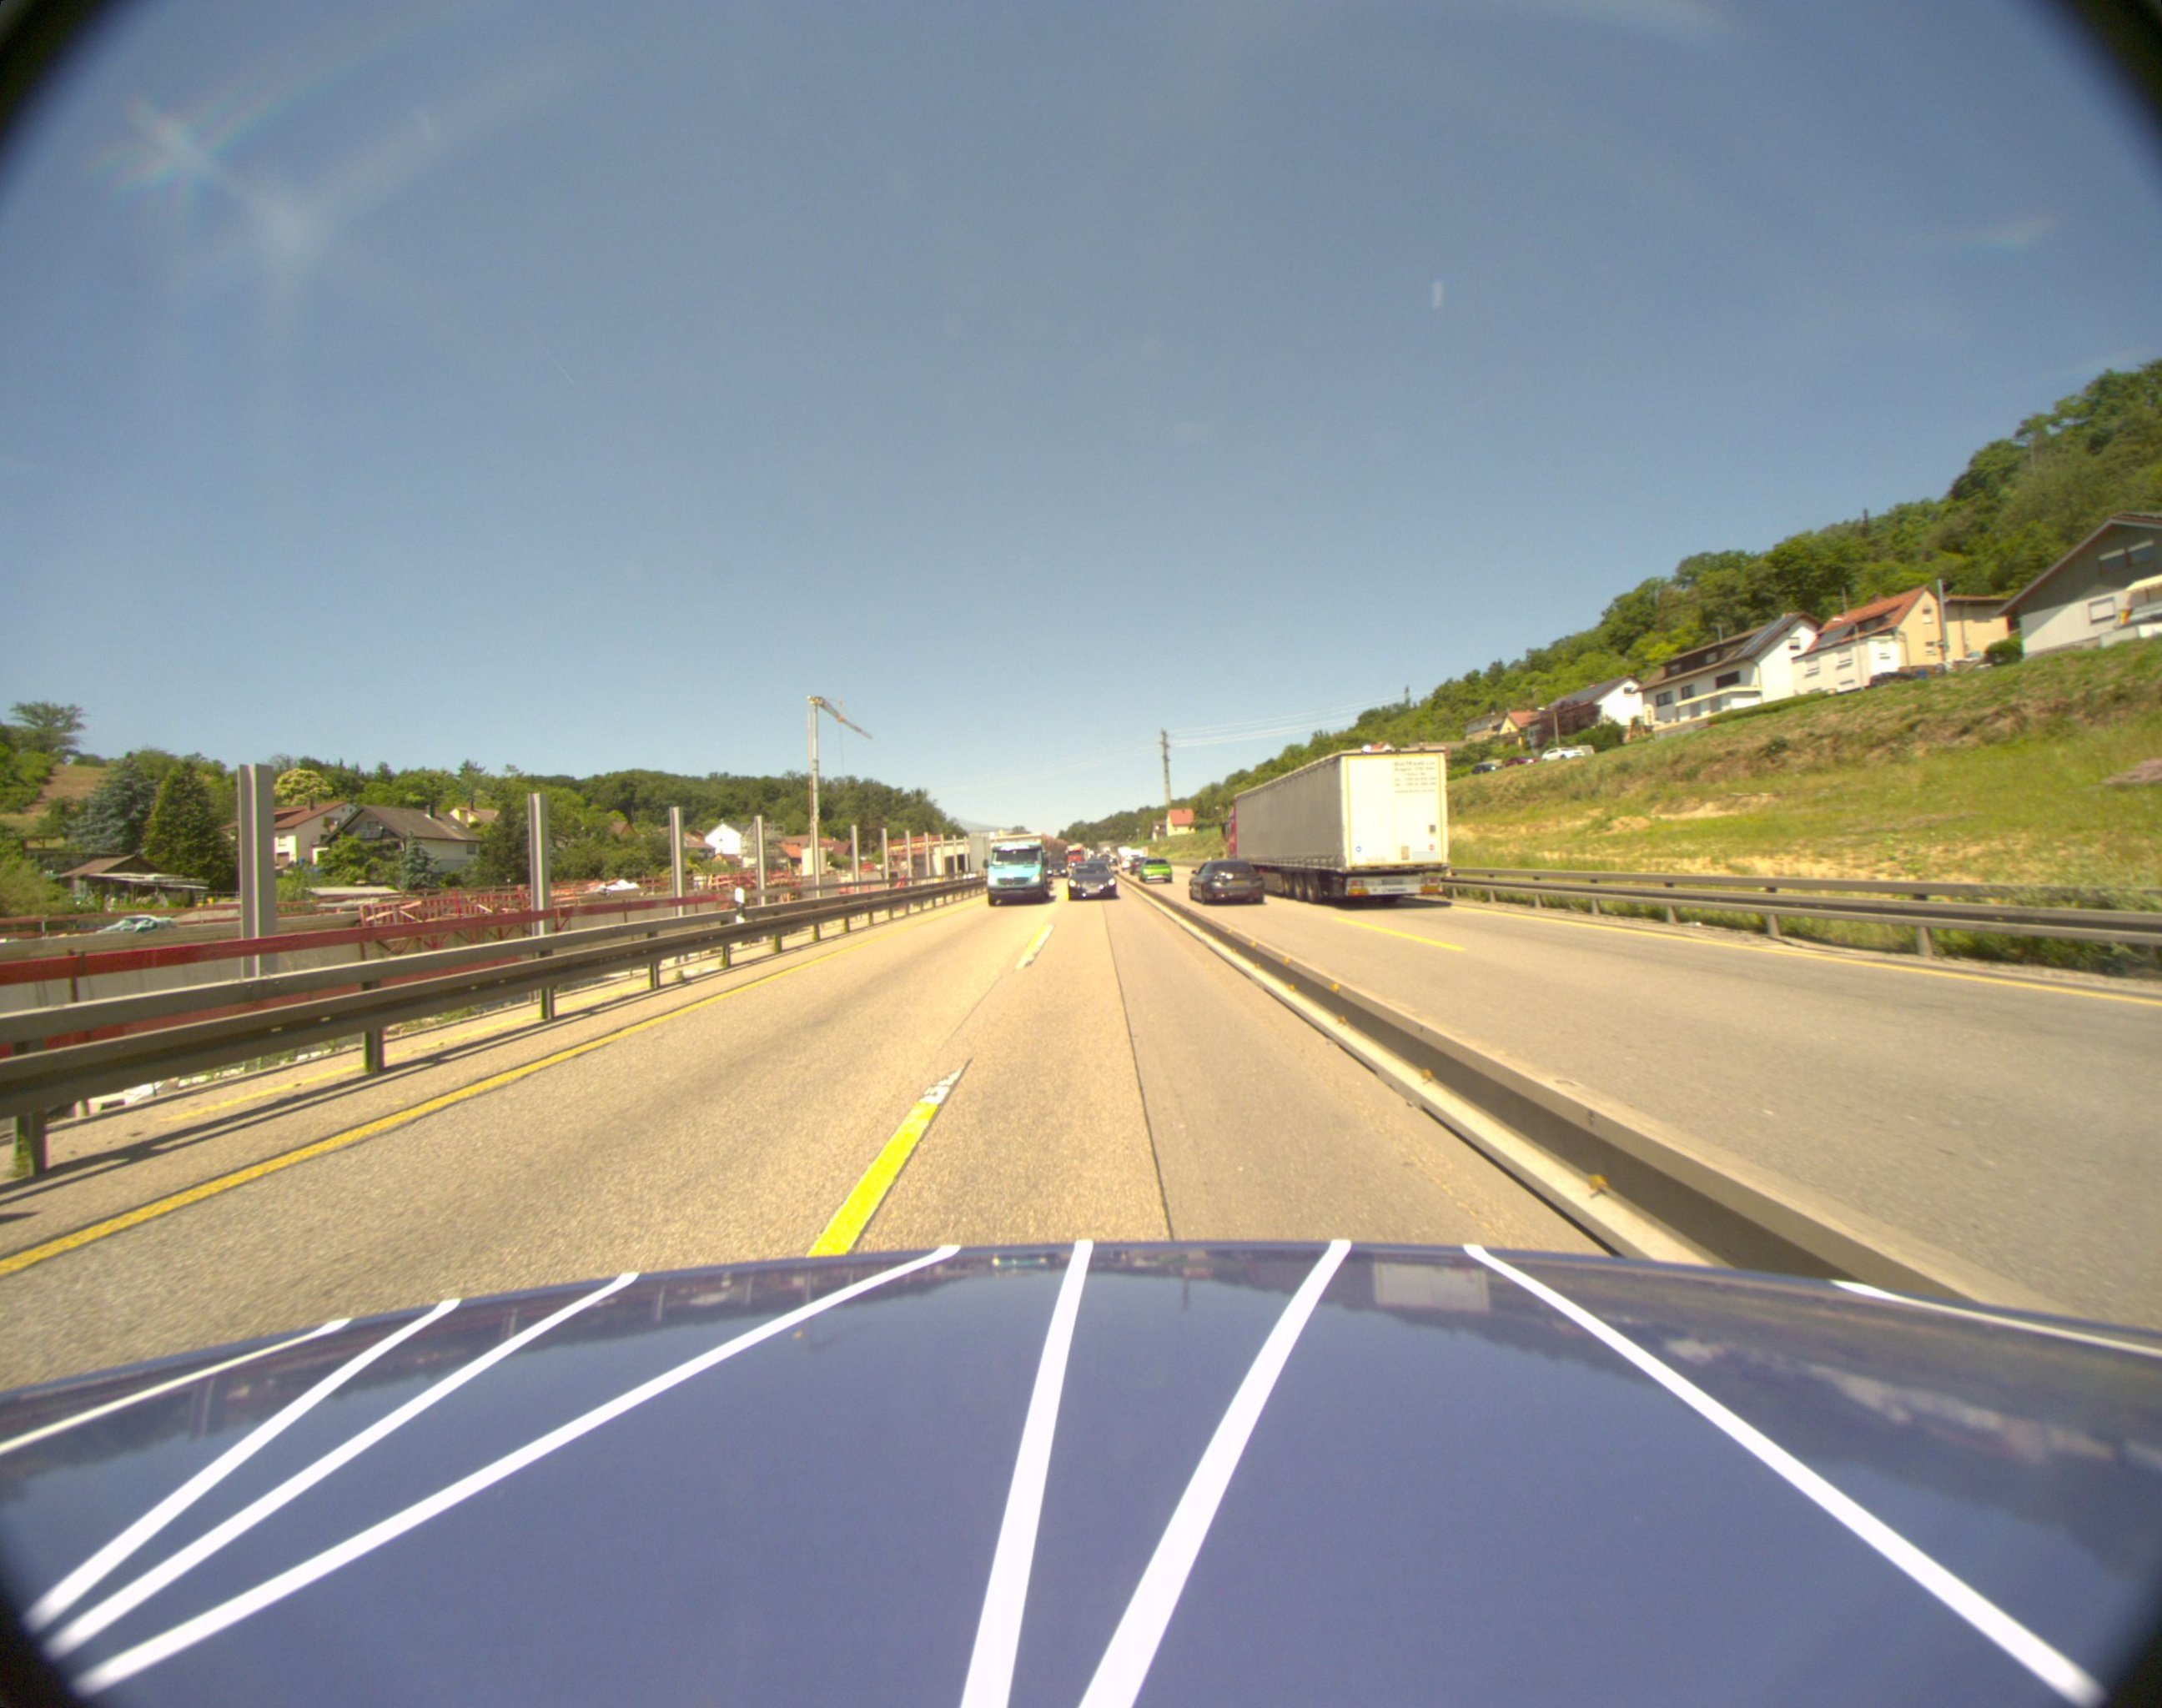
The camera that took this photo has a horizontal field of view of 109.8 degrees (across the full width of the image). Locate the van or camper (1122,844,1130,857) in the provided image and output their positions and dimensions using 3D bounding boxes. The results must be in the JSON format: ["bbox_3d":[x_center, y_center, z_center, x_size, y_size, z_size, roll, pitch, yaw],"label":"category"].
[{"bbox_3d":[10.336,-0.789,173.957,1.566,2.744,5.182,-4,0,1],"label":"van or camper"}]

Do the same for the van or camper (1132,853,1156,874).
[{"bbox_3d":[5.517,0.808,66.723,1.832,1.658,3.888,-2,0,1],"label":"van or camper"}]

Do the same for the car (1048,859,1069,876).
[{"bbox_3d":[-1.974,1.173,66.437,1.611,1.324,3.496,-3,0,1],"label":"car"}]

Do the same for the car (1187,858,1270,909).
[{"bbox_3d":[4.547,0.859,24.044,1.772,1.355,4.411,-2,0,1],"label":"car"}]

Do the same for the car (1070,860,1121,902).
[{"bbox_3d":[0.559,0.956,28.544,1.746,1.420,4.000,-2,0,1],"label":"car"}]

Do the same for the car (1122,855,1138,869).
[{"bbox_3d":[5.710,0.900,88.191,1.677,1.468,4.541,-1,0,2],"label":"car"}]

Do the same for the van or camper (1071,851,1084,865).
[{"bbox_3d":[-0.613,0.677,146.075,2.321,2.513,4.528,-4,0,1],"label":"van or camper"}]

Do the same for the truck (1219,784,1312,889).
[{"bbox_3d":[7.800,-0.684,32.697,2.828,4.100,4.598,-2,0,1],"label":"truck"}]

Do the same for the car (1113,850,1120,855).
[{"bbox_3d":[11.463,-0.475,245.705,1.780,1.652,3.576,-2,0,1],"label":"car"}]

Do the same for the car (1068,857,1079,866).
[{"bbox_3d":[-1.301,1.329,130.295,1.679,1.346,3.486,-4,0,1],"label":"car"}]

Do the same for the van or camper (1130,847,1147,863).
[{"bbox_3d":[9.684,0.159,128.640,2.382,2.634,6.052,-2,0,1],"label":"van or camper"}]

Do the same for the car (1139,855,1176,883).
[{"bbox_3d":[4.502,0.853,45.194,1.758,1.499,4.000,-4,0,1],"label":"car"}]

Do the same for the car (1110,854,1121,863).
[{"bbox_3d":[5.862,0.739,130.842,1.660,1.420,3.176,-6,0,1],"label":"car"}]

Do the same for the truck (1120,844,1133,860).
[{"bbox_3d":[9.708,-0.400,162.872,2.385,3.412,9.306,1,0,2],"label":"truck"}]

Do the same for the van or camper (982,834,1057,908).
[{"bbox_3d":[-2.212,0.576,29.818,2.097,2.458,7.671,-2,0,1],"label":"van or camper"}]

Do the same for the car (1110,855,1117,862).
[{"bbox_3d":[7.430,0.994,174.565,1.601,1.499,3.162,-4,0,1],"label":"car"}]

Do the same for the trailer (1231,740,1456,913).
[{"bbox_3d":[7.713,-0.658,25.200,2.864,4.100,13.437,-2,0,1],"label":"trailer"}]
